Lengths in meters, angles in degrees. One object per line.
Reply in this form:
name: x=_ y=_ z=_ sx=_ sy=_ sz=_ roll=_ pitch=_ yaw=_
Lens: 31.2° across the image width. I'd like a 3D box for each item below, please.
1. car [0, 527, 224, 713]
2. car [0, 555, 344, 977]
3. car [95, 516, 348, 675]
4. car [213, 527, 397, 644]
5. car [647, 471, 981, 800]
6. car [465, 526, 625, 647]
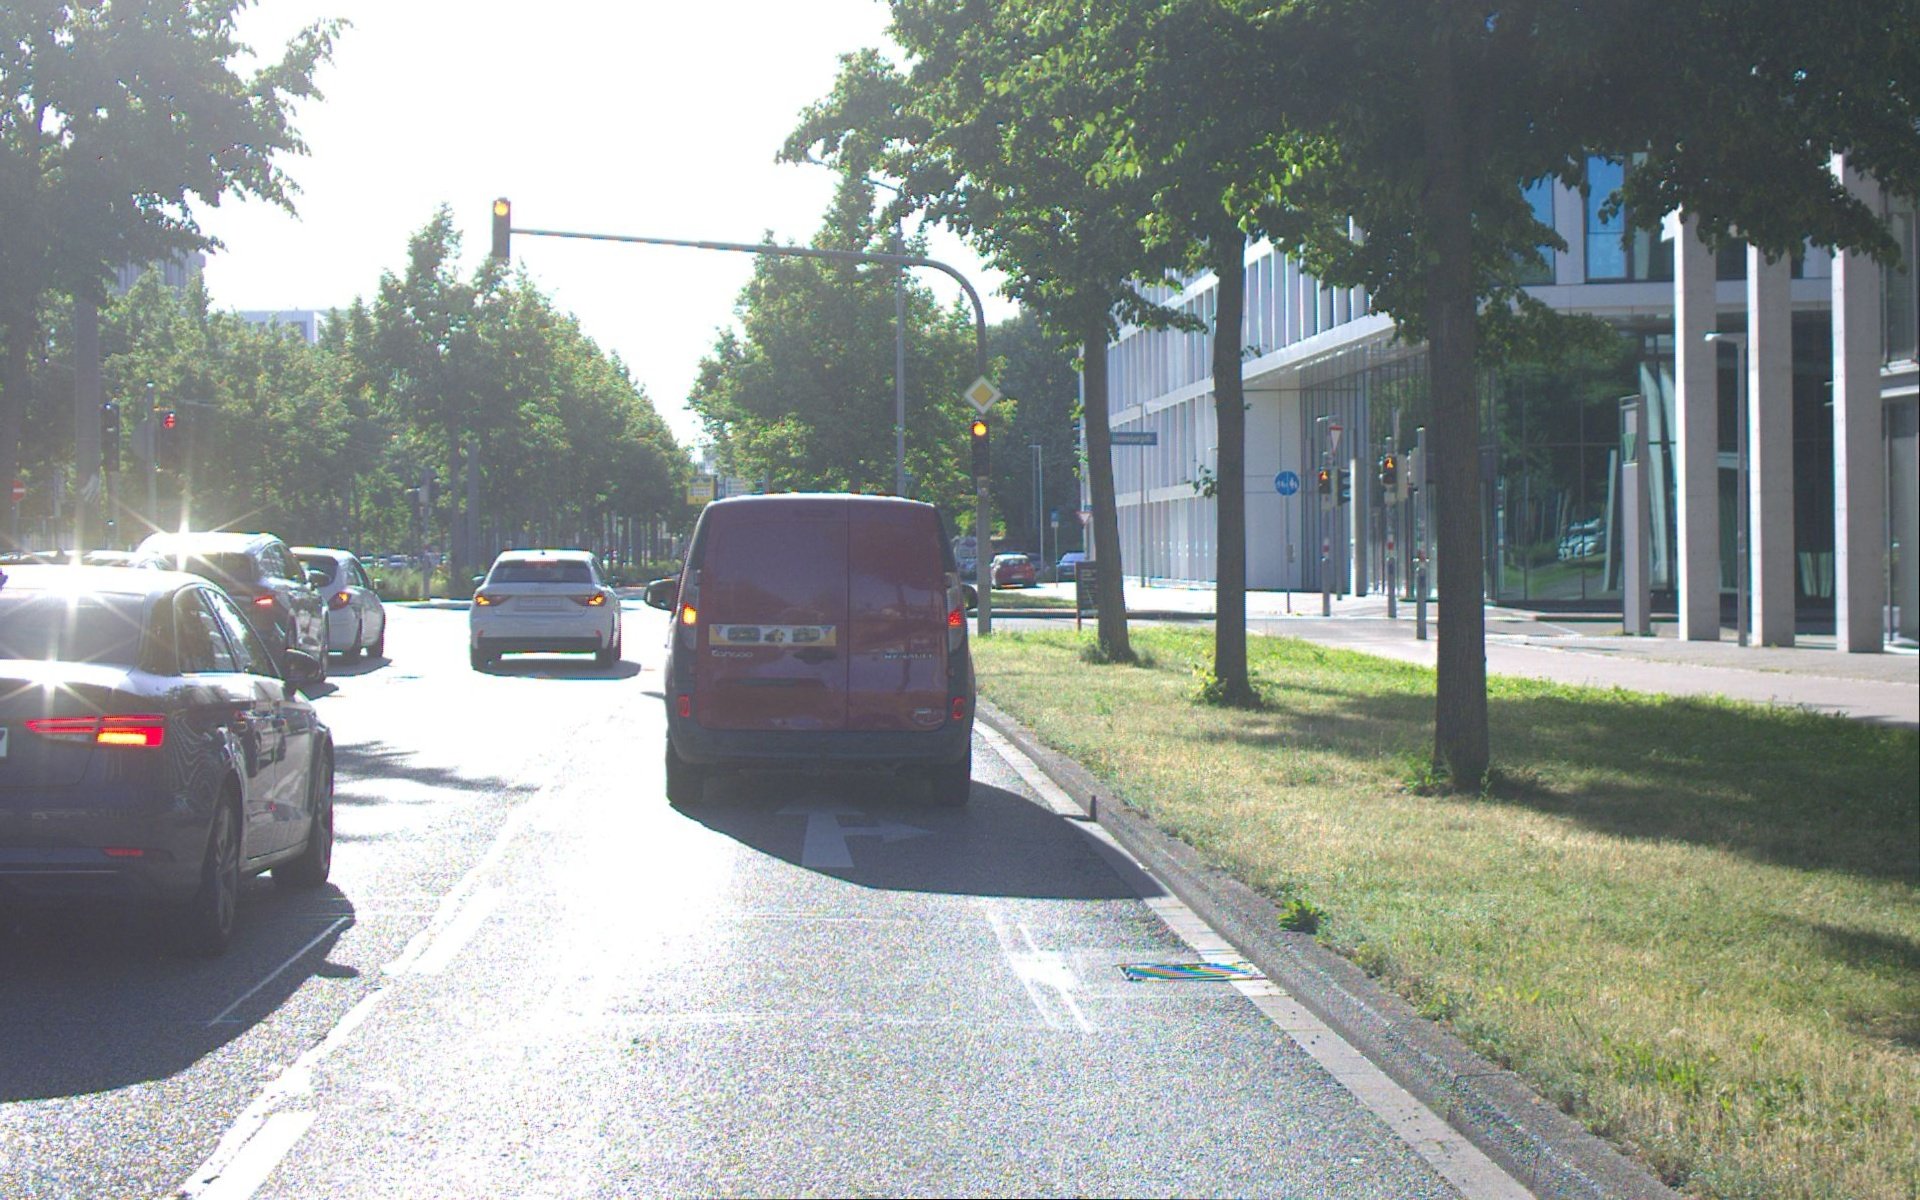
car: x=-7.406 y=0.115 z=28.747 sx=1.942 sy=1.436 sz=4.001 roll=-1 pitch=1 yaw=-5
car: x=-3.535 y=0.521 z=13.337 sx=1.721 sy=1.361 sz=4.146 roll=0 pitch=1 yaw=-3
car: x=-7.498 y=-0.084 z=35.252 sx=1.842 sy=1.529 sz=3.940 roll=0 pitch=1 yaw=-2
car: x=-8.204 y=-0.219 z=43.342 sx=1.715 sy=1.393 sz=4.001 roll=0 pitch=1 yaw=-3
car: x=-0.862 y=0.124 z=20.994 sx=1.797 sy=1.770 sz=4.001 roll=2 pitch=2 yaw=-2
car: x=-5.103 y=-0.198 z=42.640 sx=1.721 sy=1.420 sz=3.817 roll=0 pitch=1 yaw=-3
